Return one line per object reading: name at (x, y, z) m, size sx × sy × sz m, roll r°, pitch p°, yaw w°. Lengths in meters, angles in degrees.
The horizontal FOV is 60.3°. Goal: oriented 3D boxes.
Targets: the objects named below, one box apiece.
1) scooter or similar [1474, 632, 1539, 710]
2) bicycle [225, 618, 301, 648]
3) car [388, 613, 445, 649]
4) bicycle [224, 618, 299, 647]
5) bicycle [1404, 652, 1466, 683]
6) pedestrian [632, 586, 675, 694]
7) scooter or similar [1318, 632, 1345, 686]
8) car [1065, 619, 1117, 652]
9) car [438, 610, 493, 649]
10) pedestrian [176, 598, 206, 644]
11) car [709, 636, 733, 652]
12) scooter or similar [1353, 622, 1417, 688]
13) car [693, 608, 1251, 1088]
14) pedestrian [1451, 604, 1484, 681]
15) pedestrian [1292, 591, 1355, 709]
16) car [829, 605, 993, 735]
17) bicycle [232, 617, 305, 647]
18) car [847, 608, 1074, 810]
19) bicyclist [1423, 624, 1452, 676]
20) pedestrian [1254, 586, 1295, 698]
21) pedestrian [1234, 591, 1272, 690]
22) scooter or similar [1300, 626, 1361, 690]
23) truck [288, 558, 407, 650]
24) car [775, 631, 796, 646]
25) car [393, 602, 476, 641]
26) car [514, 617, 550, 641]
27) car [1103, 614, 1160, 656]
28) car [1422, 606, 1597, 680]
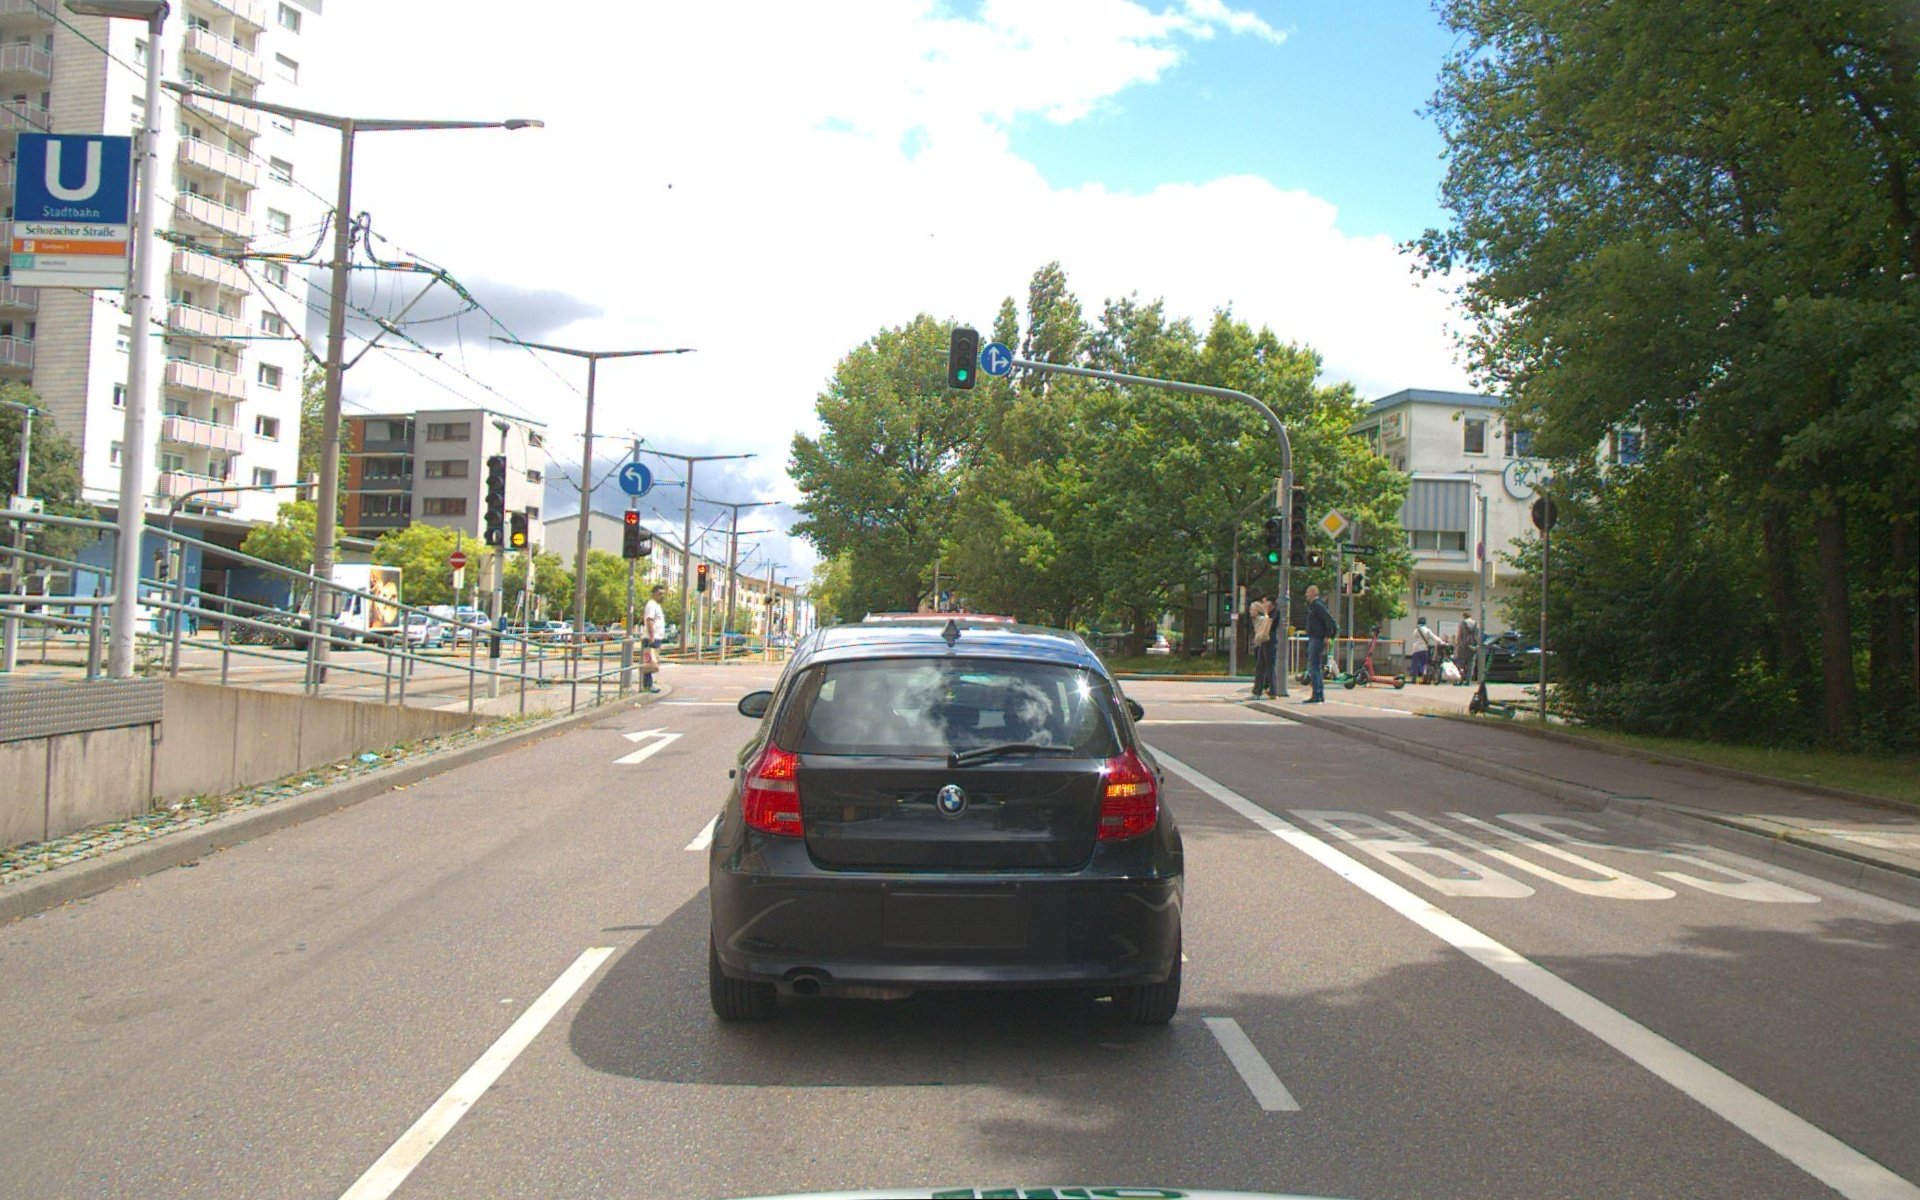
scooter or similar at (9.463, 1.228, 28.643) m, size 0.872 × 1.251 × 0.454 m, roll 6°, pitch -1°, yaw -1°
bicycle at (-26.134, 1.243, 62.011) m, size 2.528 × 1.026 × 0.748 m, roll 3°, pitch -3°, yaw -29°
car at (-23.573, 1.322, 71.842) m, size 1.379 × 1.486 × 3.772 m, roll 2°, pitch -1°, yaw -3°
bicycle at (-26.541, 1.239, 62.828) m, size 2.528 × 1.026 × 0.748 m, roll 3°, pitch -3°, yaw -29°
bicycle at (10.738, 1.514, 37.421) m, size 0.525 × 0.620 × 1.581 m, roll 3°, pitch -1°, yaw -20°
pedestrian at (-5.099, 0.658, 27.544) m, size 0.674 × 1.764 × 0.686 m, roll 1°, pitch -1°, yaw -9°
scooter or similar at (7.869, 1.239, 35.006) m, size 0.536 × 1.082 × 1.263 m, roll 1°, pitch 0°, yaw 13°
car at (7.167, 1.935, 90.768) m, size 1.830 × 1.691 × 3.988 m, roll 2°, pitch -1°, yaw -12°
car at (-23.691, 1.398, 79.293) m, size 1.559 × 1.787 × 3.773 m, roll 2°, pitch -1°, yaw -2°
pedestrian at (-34.452, 0.952, 74.103) m, size 0.841 × 2.049 × 0.847 m, roll 1°, pitch -1°, yaw 17°
car at (-23.858, 4.410, 165.365) m, size 1.616 × 1.561 × 3.873 m, roll 1°, pitch -1°, yaw 4°
scooter or similar at (8.735, 1.127, 34.017) m, size 1.127 × 1.294 × 0.555 m, roll 2°, pitch -1°, yaw 1°
car at (0.017, 0.763, 6.722) m, size 1.666 × 1.424 × 3.419 m, roll 1°, pitch 0°, yaw -1°
pedestrian at (11.605, 0.973, 37.823) m, size 0.644 × 1.743 × 0.461 m, roll 1°, pitch -1°, yaw 25°
pedestrian at (6.040, 0.819, 27.542) m, size 0.988 × 1.909 × 0.798 m, roll 1°, pitch -1°, yaw 11°
car at (-0.595, 0.816, 21.260) m, size 1.862 × 1.447 × 4.538 m, roll 1°, pitch 0°, yaw -1°
bicycle at (-26.714, 1.241, 63.926) m, size 2.528 × 1.026 × 0.748 m, roll 3°, pitch -3°, yaw -29°
car at (-0.019, 0.793, 13.624) m, size 1.605 × 1.424 × 3.419 m, roll 1°, pitch 0°, yaw -1°
bicyclist at (10.783, 1.127, 37.352) m, size 0.493 × 1.177 × 0.397 m, roll 1°, pitch -1°, yaw -18°
pedestrian at (5.442, 0.729, 28.680) m, size 0.622 × 1.909 × 0.518 m, roll 1°, pitch -1°, yaw 5°
pedestrian at (5.394, 0.736, 30.497) m, size 0.622 × 1.797 × 0.518 m, roll 1°, pitch -1°, yaw 5°
scooter or similar at (7.420, 1.156, 33.115) m, size 1.087 × 1.257 × 0.539 m, roll 1°, pitch -1°, yaw 1°
truck at (-22.879, 0.173, 62.157) m, size 2.237 × 3.172 × 7.311 m, roll 2°, pitch -1°, yaw -5°
car at (-19.204, 4.241, 182.082) m, size 1.617 × 1.561 × 3.873 m, roll 1°, pitch -1°, yaw 3°
car at (-28.140, 1.152, 88.669) m, size 3.893 × 2.009 × 1.630 m, roll 2°, pitch -1°, yaw -43°
car at (-28.820, 1.932, 111.451) m, size 1.559 × 1.500 × 3.773 m, roll 2°, pitch -1°, yaw -2°
car at (8.247, 1.664, 79.800) m, size 1.694 × 1.904 × 3.991 m, roll 2°, pitch -1°, yaw -10°
car at (16.129, 1.246, 48.640) m, size 4.450 × 2.049 × 1.996 m, roll 1°, pitch -1°, yaw -8°
